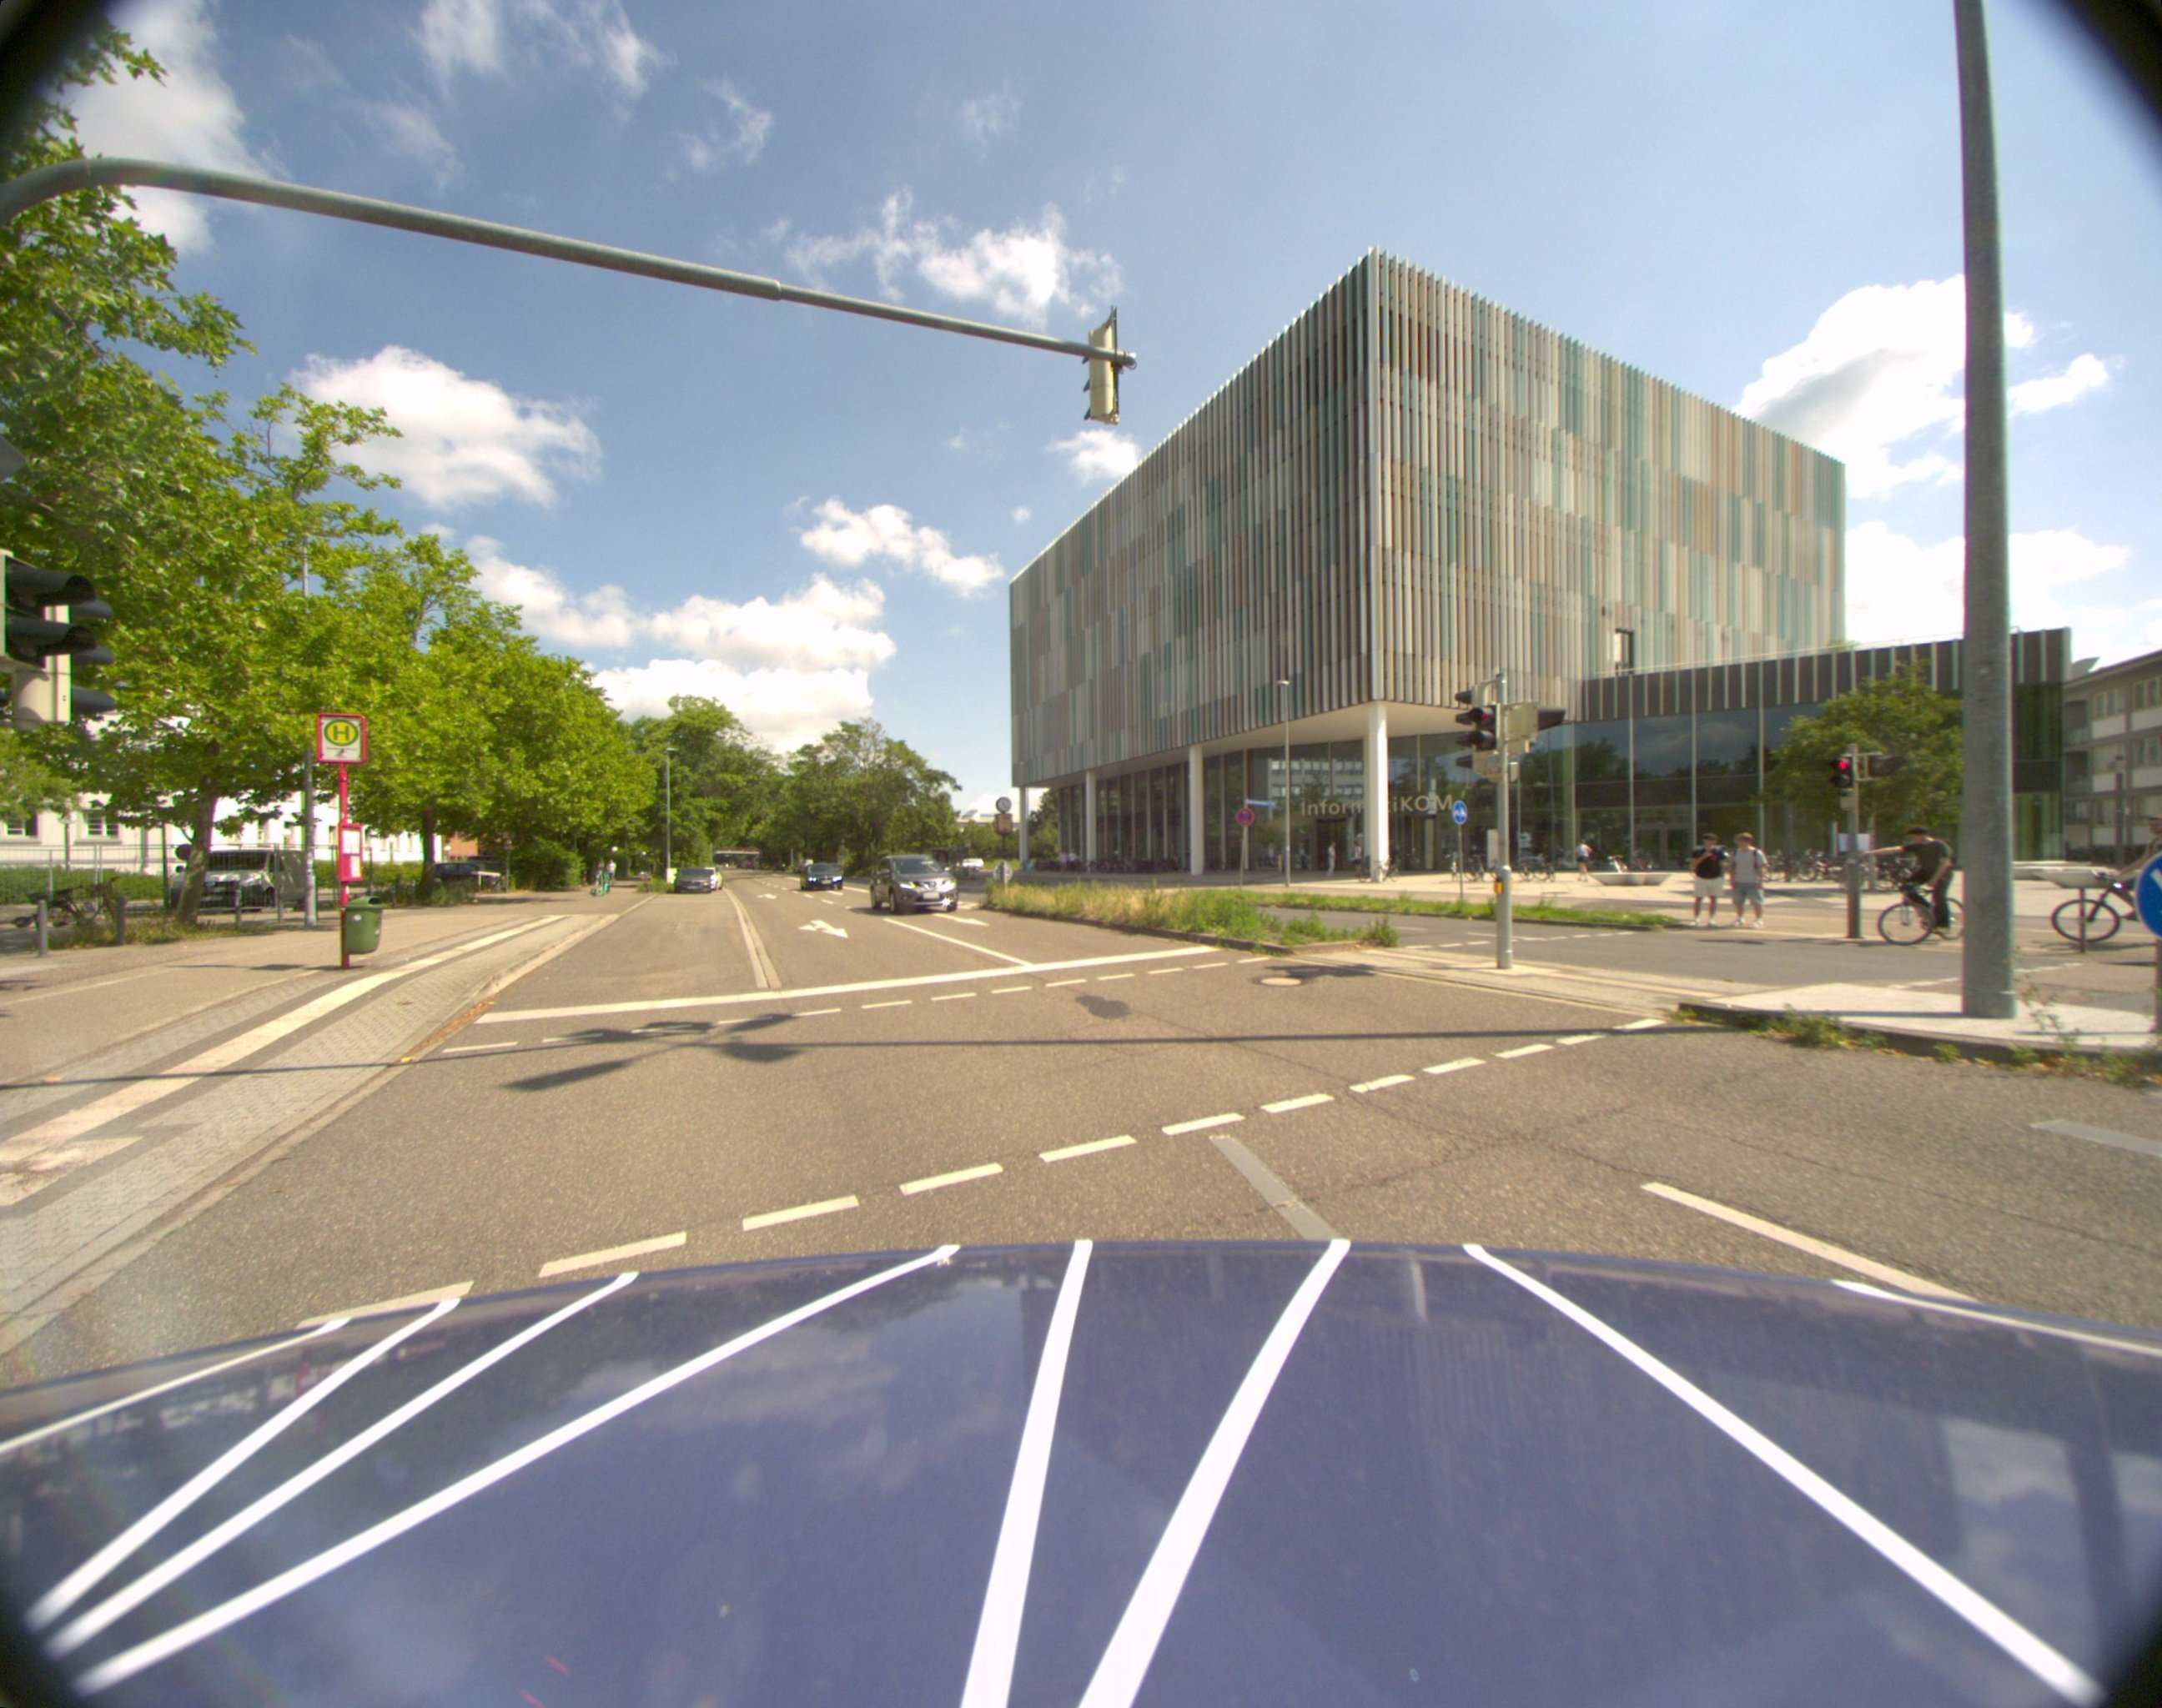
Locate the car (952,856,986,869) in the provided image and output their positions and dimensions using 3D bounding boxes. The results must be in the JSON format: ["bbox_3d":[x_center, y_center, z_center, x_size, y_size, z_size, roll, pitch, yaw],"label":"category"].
[{"bbox_3d":[-14.058,1.063,95.208,3.831,1.502,1.896,-3,1,-21],"label":"car"}]

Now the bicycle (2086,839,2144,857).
[{"bbox_3d":[56.412,-0.325,41.476,1.768,0.950,0.530,-1,3,36],"label":"bicycle"}]

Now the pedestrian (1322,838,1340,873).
[{"bbox_3d":[13.159,0.065,39.935,0.788,1.831,0.517,-2,1,8],"label":"pedestrian"}]

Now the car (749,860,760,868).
[{"bbox_3d":[-72.106,2.167,167.709,1.901,1.502,3.821,-3,1,-21],"label":"car"}]

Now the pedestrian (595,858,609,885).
[{"bbox_3d":[-31.977,1.184,50.765,0.685,1.771,0.789,-4,2,-33],"label":"pedestrian"}]

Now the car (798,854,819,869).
[{"bbox_3d":[-36.024,0.979,100.445,1.906,1.801,4.721,-2,1,-28],"label":"car"}]

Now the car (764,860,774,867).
[{"bbox_3d":[-68.538,2.026,166.882,1.901,1.502,3.821,-3,1,-21],"label":"car"}]

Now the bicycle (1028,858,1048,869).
[{"bbox_3d":[-4.046,0.907,70.814,1.787,0.950,0.432,-3,1,-26],"label":"bicycle"}]

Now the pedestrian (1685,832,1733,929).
[{"bbox_3d":[12.236,0.507,14.806,0.481,1.831,0.631,-3,2,-40],"label":"pedestrian"}]

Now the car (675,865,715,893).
[{"bbox_3d":[-21.318,1.345,42.098,1.865,1.469,4.932,1,-1,-26],"label":"car"}]

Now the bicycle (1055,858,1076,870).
[{"bbox_3d":[-1.310,0.881,65.648,1.787,0.950,0.432,-3,1,-26],"label":"bicycle"}]

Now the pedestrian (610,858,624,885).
[{"bbox_3d":[-31.116,1.154,50.943,0.685,1.771,0.789,-4,2,-35],"label":"pedestrian"}]

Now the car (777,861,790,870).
[{"bbox_3d":[-51.870,1.979,132.583,1.901,1.502,3.821,-3,1,-21],"label":"car"}]

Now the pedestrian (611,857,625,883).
[{"bbox_3d":[-32.387,1.109,53.169,0.685,1.771,0.789,-4,2,-33],"label":"pedestrian"}]

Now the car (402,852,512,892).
[{"bbox_3d":[-32.105,0.884,39.283,4.005,1.773,1.995,-3,2,-29],"label":"car"}]

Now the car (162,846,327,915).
[{"bbox_3d":[-25.846,0.748,23.748,1.906,1.854,4.930,-2,1,-29],"label":"car"}]

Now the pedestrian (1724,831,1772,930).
[{"bbox_3d":[12.695,0.490,14.467,0.416,1.831,0.574,-3,2,-31],"label":"pedestrian"}]

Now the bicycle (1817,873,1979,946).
[{"bbox_3d":[13.332,0.887,12.467,1.667,1.118,0.696,-1,1,27],"label":"bicycle"}]

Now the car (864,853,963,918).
[{"bbox_3d":[-5.073,0.872,22.551,1.827,1.669,4.469,-3,0,-26],"label":"car"}]

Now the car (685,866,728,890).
[{"bbox_3d":[-23.134,1.451,47.060,1.745,1.442,4.934,0,-1,-19],"label":"car"}]

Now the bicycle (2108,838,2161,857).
[{"bbox_3d":[55.404,-0.317,39.828,1.768,0.950,0.530,-1,3,36],"label":"bicycle"}]

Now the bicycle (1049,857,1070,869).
[{"bbox_3d":[-1.898,0.789,66.507,1.787,0.950,0.432,-3,1,-26],"label":"bicycle"}]

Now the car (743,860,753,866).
[{"bbox_3d":[-81.773,2.216,186.511,1.901,1.502,3.821,-3,1,-21],"label":"car"}]

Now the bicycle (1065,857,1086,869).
[{"bbox_3d":[-0.481,0.784,64.583,1.787,0.950,0.432,-3,1,-26],"label":"bicycle"}]

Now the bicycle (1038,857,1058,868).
[{"bbox_3d":[-2.973,0.777,68.774,1.787,0.950,0.432,-3,1,-26],"label":"bicycle"}]

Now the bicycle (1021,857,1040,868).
[{"bbox_3d":[-4.819,0.840,72.447,1.787,0.950,0.432,-3,1,-26],"label":"bicycle"}]

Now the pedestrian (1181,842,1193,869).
[{"bbox_3d":[7.328,0.123,52.593,0.563,1.831,0.553,-3,2,-34],"label":"pedestrian"}]

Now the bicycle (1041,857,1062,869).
[{"bbox_3d":[-2.600,0.768,67.709,1.787,0.950,0.432,-3,1,-26],"label":"bicycle"}]

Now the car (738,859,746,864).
[{"bbox_3d":[-100.451,2.269,224.970,1.901,1.502,3.821,-3,1,-21],"label":"car"}]

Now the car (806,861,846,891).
[{"bbox_3d":[-13.675,1.143,40.891,1.832,1.408,4.184,-3,1,-17],"label":"car"}]

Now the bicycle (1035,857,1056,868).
[{"bbox_3d":[-3.229,0.790,69.291,1.787,0.950,0.432,-3,1,-26],"label":"bicycle"}]

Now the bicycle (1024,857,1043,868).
[{"bbox_3d":[-4.495,0.838,71.827,1.787,0.950,0.432,-3,1,-26],"label":"bicycle"}]

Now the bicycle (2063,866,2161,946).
[{"bbox_3d":[15.624,0.736,10.955,1.666,1.118,0.696,-1,1,39],"label":"bicycle"}]

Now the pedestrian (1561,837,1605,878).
[{"bbox_3d":[20.296,0.136,30.744,1.184,1.640,1.013,-1,1,-26],"label":"pedestrian"}]

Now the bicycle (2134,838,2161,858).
[{"bbox_3d":[54.547,-0.314,38.199,1.768,0.950,0.530,-1,3,36],"label":"bicycle"}]

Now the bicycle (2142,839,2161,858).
[{"bbox_3d":[54.176,-0.283,37.655,1.768,0.950,0.530,-1,3,36],"label":"bicycle"}]

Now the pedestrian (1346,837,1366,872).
[{"bbox_3d":[14.401,0.024,39.786,0.691,1.831,0.677,-2,1,-18],"label":"pedestrian"}]

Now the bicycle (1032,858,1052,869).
[{"bbox_3d":[-3.595,0.890,69.979,1.787,0.950,0.432,-3,1,-26],"label":"bicycle"}]
